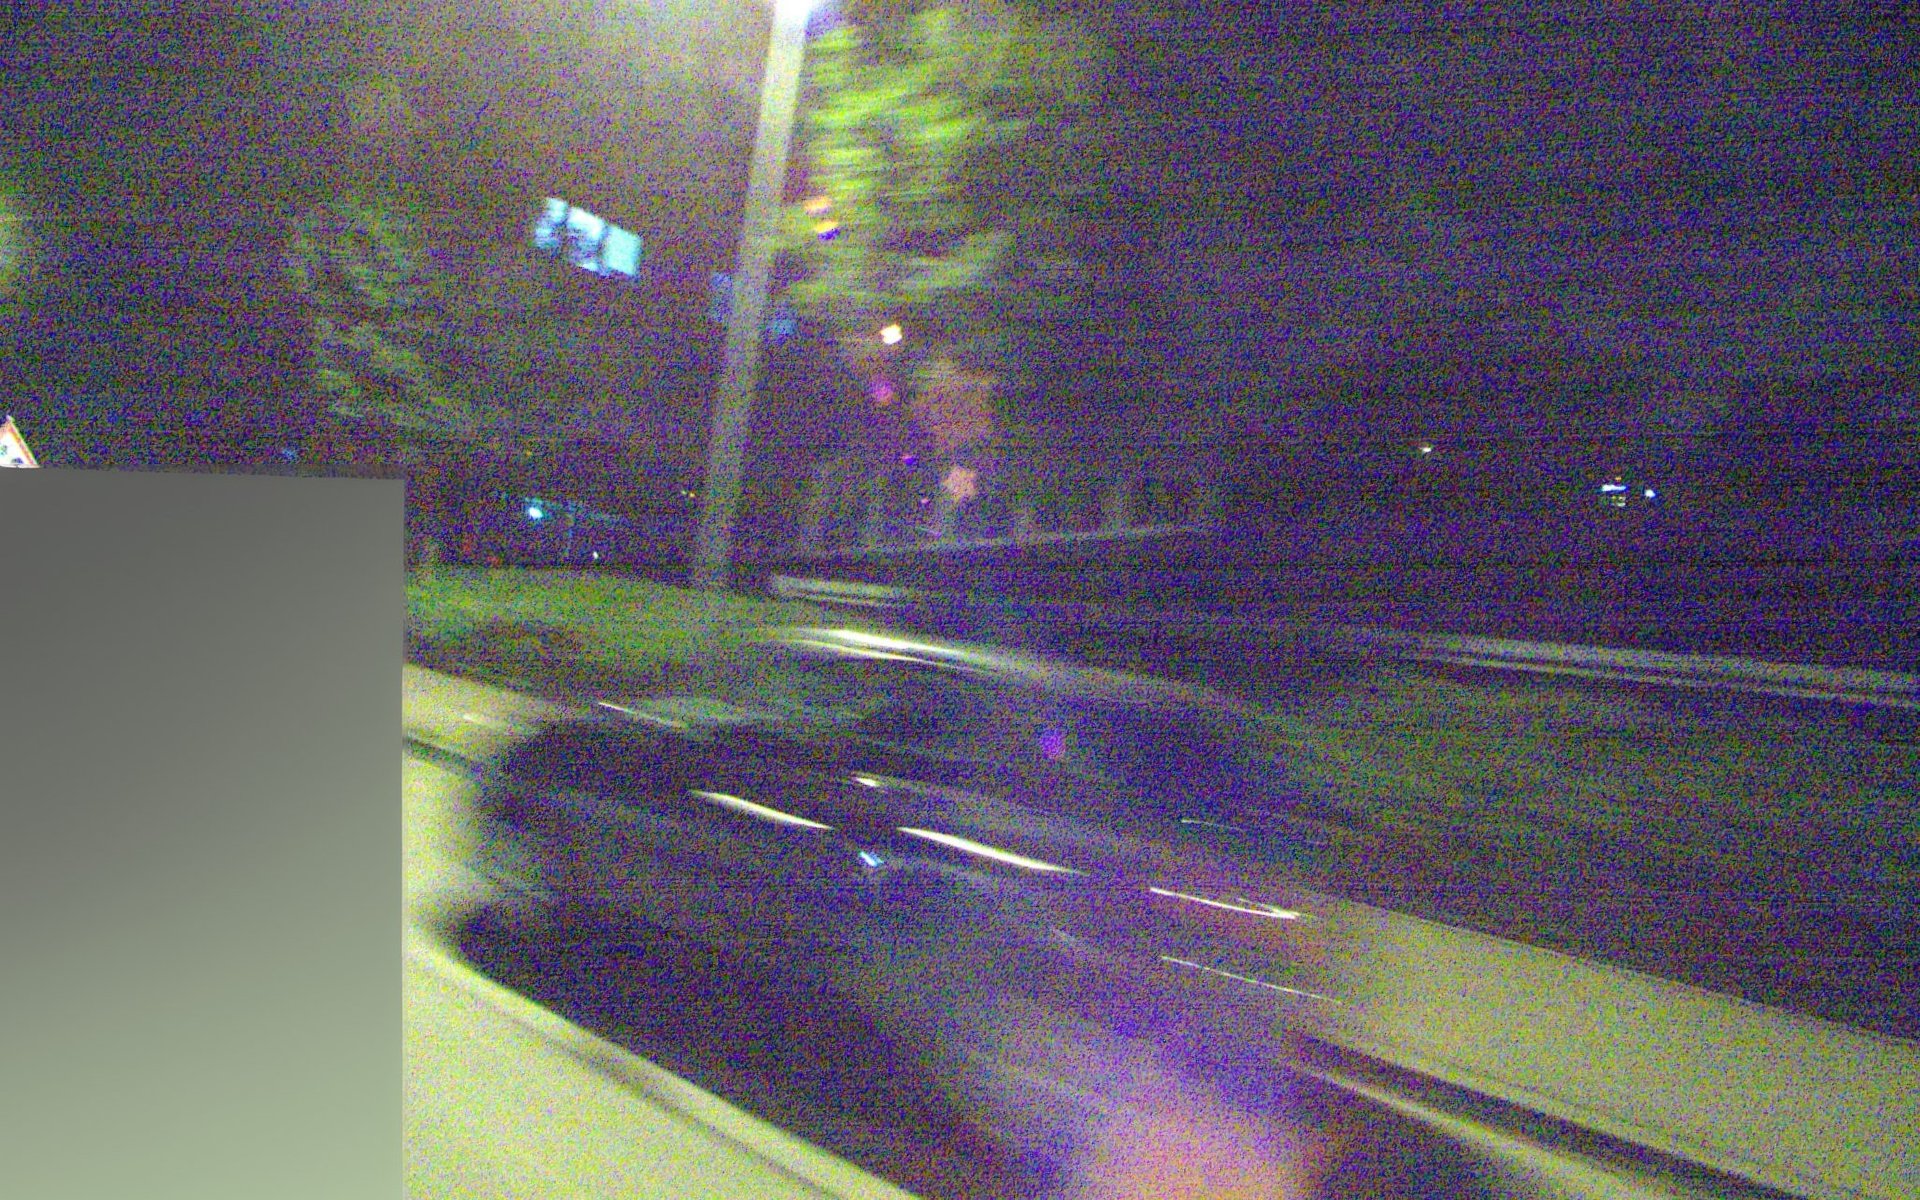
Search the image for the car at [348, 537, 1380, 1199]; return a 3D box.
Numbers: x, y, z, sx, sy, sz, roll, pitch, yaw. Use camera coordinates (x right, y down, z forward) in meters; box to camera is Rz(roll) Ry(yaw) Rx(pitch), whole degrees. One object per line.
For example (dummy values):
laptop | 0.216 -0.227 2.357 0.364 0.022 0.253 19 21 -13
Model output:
car | -0.512 0.789 4.268 3.931 1.525 1.715 8 -1 29
